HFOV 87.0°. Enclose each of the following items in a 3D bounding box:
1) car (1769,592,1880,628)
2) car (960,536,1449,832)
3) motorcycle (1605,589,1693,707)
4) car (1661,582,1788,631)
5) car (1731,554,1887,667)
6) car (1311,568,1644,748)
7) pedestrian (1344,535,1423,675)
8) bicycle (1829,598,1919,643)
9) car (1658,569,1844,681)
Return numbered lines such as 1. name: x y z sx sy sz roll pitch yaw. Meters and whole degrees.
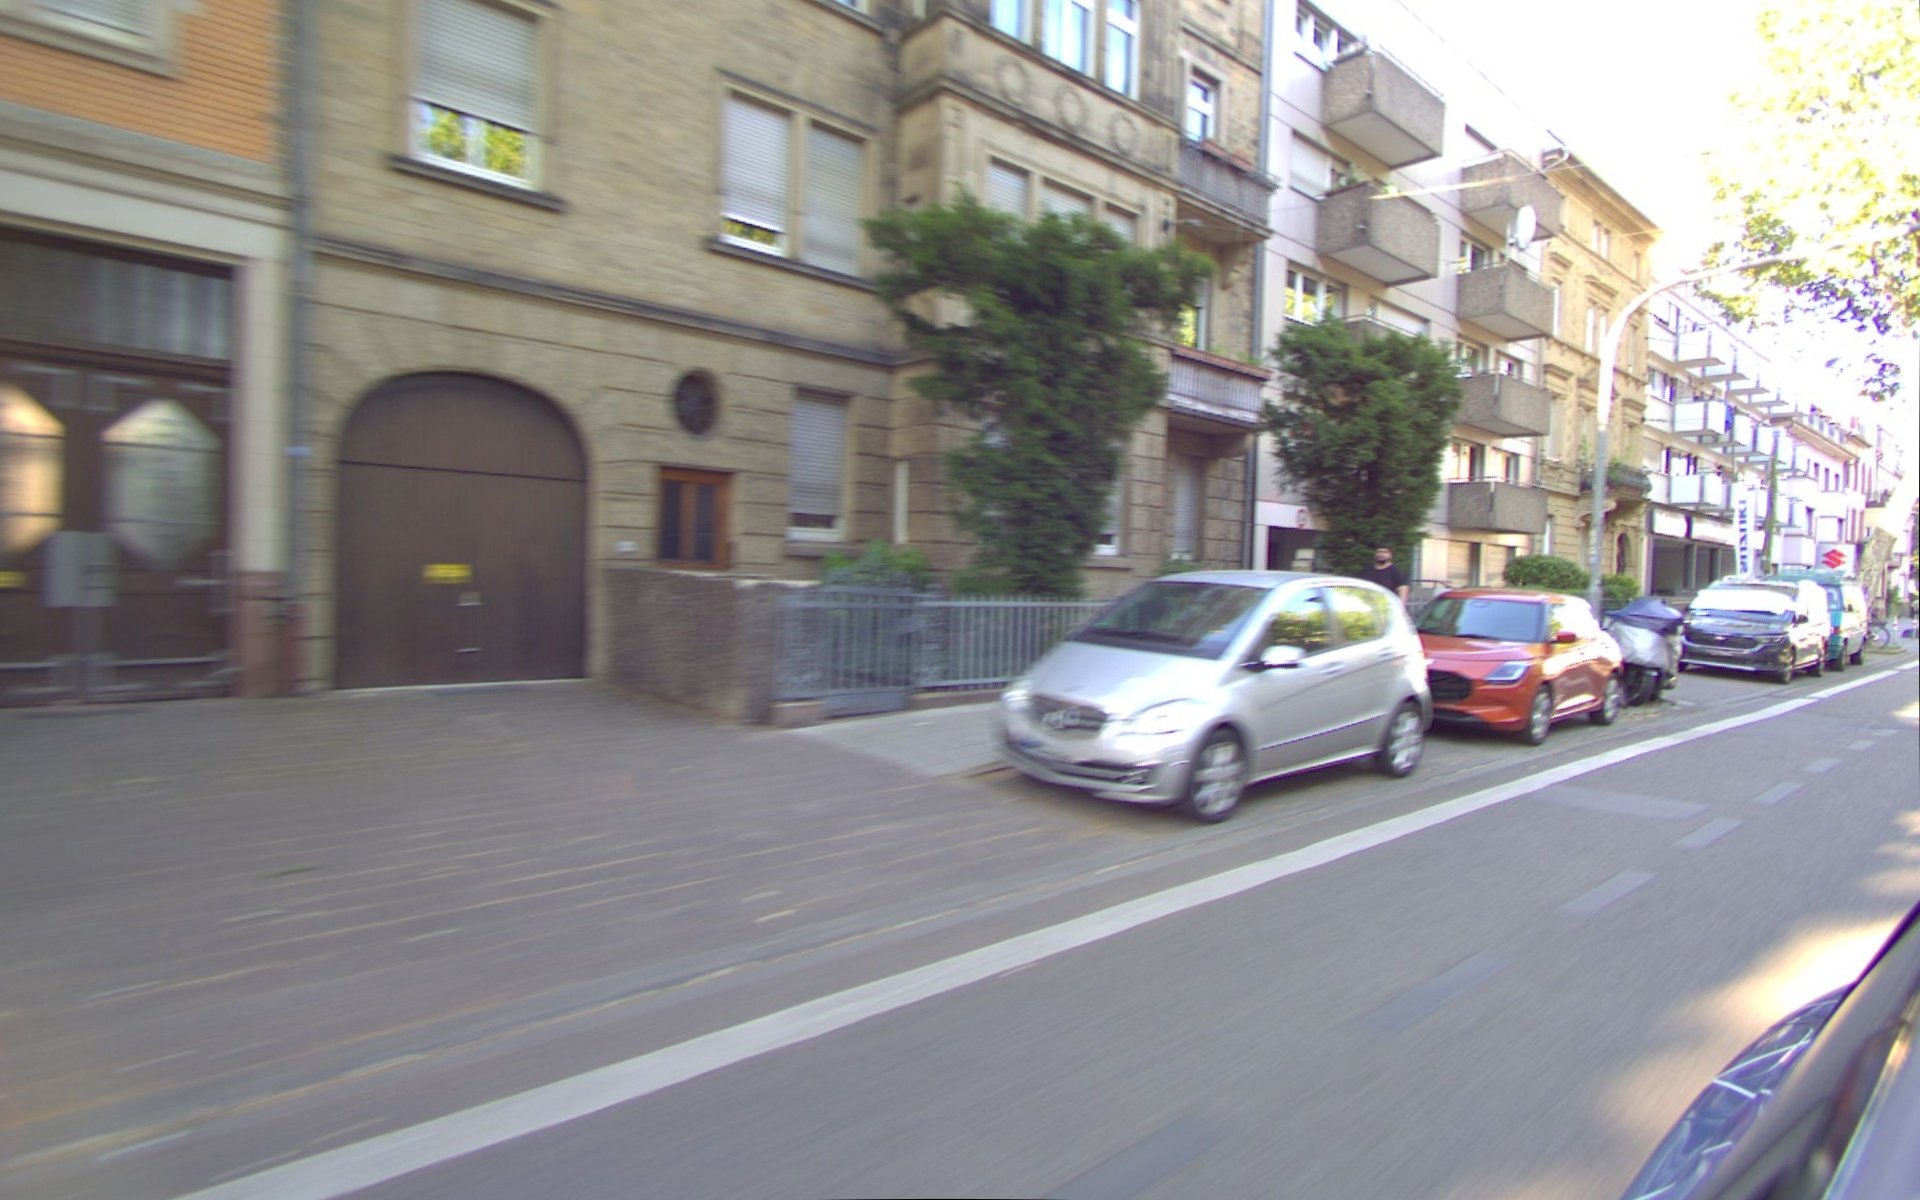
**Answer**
1. car: 41.992 0.459 49.199 1.879 1.519 3.820 2 1 -40
2. car: 2.006 0.421 7.743 3.785 1.711 1.748 -1 3 -41
3. motorcycle: 9.436 0.584 13.816 0.822 1.415 2.348 5 4 36
4. car: 27.519 0.179 36.493 1.418 1.565 3.423 -1 3 -43
5. car: 19.452 0.135 23.091 5.146 2.284 1.997 -1 3 -42
6. car: 5.803 0.471 11.180 3.912 1.579 1.997 -1 3 -42
7. pedestrian: 6.131 0.052 14.655 0.800 1.961 0.712 1 2 -41
8. bicycle: 25.909 0.569 28.695 0.342 1.157 1.848 -1 3 -41
9. car: 15.195 0.364 19.343 4.676 1.852 1.997 -1 3 -42
